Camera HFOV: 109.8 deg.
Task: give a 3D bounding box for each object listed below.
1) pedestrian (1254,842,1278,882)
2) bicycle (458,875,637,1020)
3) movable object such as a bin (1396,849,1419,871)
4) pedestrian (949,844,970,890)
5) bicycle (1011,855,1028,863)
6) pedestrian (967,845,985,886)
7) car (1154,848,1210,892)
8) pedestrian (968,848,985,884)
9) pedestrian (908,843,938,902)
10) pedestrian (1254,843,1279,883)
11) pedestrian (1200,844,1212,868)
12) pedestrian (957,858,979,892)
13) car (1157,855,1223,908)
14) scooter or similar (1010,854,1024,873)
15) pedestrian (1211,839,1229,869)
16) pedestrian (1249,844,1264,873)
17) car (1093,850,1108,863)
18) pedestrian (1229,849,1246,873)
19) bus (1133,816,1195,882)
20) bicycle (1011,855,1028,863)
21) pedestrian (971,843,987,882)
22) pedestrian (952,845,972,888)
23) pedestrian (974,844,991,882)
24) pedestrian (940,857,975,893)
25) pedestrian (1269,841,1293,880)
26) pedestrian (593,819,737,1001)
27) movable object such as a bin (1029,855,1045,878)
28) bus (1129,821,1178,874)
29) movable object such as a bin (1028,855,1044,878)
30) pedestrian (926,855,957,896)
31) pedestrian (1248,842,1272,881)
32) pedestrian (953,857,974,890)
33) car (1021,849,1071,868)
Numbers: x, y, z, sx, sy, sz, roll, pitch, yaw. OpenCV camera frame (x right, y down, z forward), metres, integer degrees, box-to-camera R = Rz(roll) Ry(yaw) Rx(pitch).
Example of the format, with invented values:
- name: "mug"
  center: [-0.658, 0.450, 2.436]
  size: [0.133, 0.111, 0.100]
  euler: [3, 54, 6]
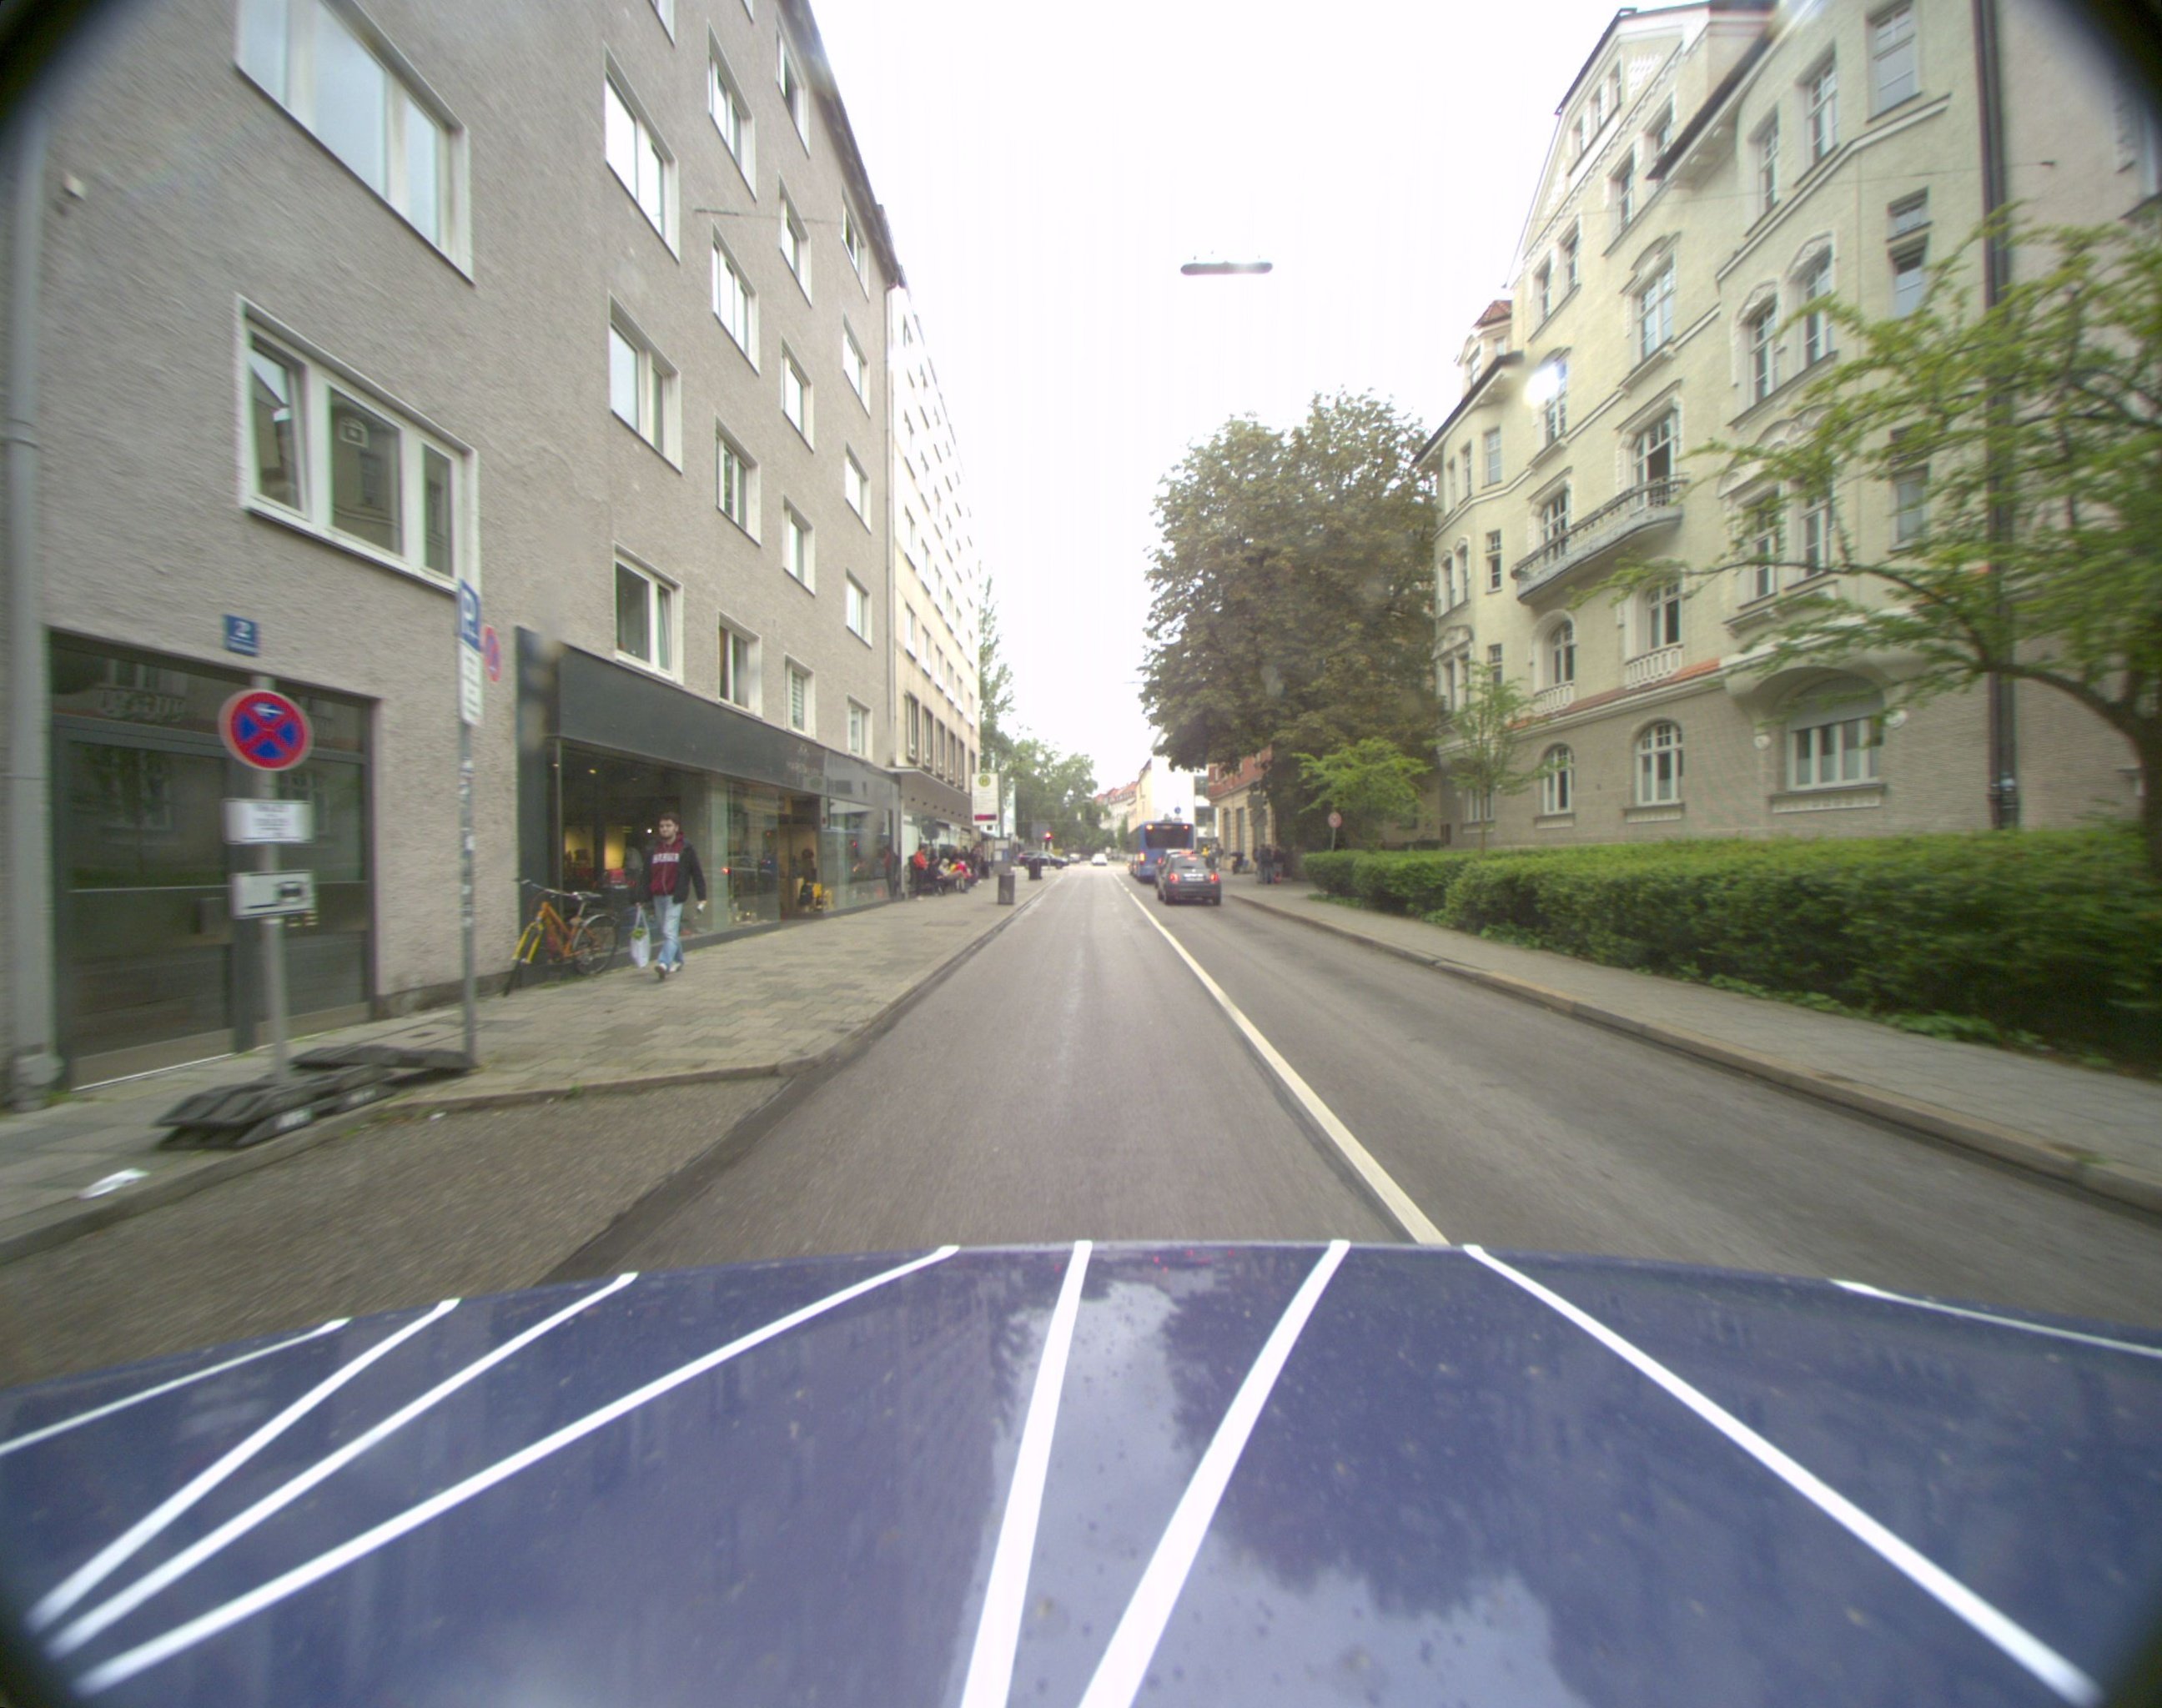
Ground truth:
- name: "pedestrian"
  center: [8.182, 0.353, 33.615]
  size: [0.875, 1.735, 0.786]
  euler: [0, 1, 1]
- name: "bicycle"
  center: [-5.474, 0.889, 7.946]
  size: [0.513, 1.253, 1.820]
  euler: [3, 1, 1]
- name: "movable object such as a bin"
  center: [16.227, 0.302, 37.751]
  size: [0.856, 1.085, 0.813]
  euler: [-1, 1, 5]
- name: "pedestrian"
  center: [-4.672, 0.493, 29.164]
  size: [0.659, 1.723, 0.684]
  euler: [0, 1, 2]
- name: "bicycle"
  center: [-7.954, 0.641, 98.776]
  size: [2.124, 1.110, 0.738]
  euler: [0, 1, -9]
- name: "pedestrian"
  center: [-4.472, 0.482, 32.466]
  size: [0.659, 1.723, 0.696]
  euler: [0, 1, 2]
- name: "car"
  center: [3.935, 0.591, 30.311]
  size: [1.772, 1.635, 4.273]
  euler: [0, 0, 1]
- name: "pedestrian"
  center: [-4.717, 0.531, 34.339]
  size: [0.659, 1.584, 0.696]
  euler: [0, 1, 2]
- name: "pedestrian"
  center: [-4.715, 0.541, 22.673]
  size: [0.704, 1.723, 0.746]
  euler: [0, 1, 2]
- name: "pedestrian"
  center: [7.997, 0.382, 32.760]
  size: [0.910, 1.735, 0.847]
  euler: [0, 1, 1]
- name: "pedestrian"
  center: [10.700, 0.150, 64.874]
  size: [0.952, 2.002, 1.397]
  euler: [0, 1, 11]
- name: "pedestrian"
  center: [-4.178, 0.756, 28.082]
  size: [0.709, 1.230, 0.585]
  euler: [0, 1, 2]
- name: "car"
  center: [3.249, 0.781, 23.242]
  size: [1.588, 1.471, 3.782]
  euler: [0, 1, 1]
- name: "scooter or similar"
  center: [-4.396, 0.639, 52.301]
  size: [0.563, 1.234, 1.445]
  euler: [-1, 1, 12]
- name: "pedestrian"
  center: [9.304, -0.008, 50.909]
  size: [0.832, 2.002, 0.778]
  euler: [-2, 1, -41]
- name: "pedestrian"
  center: [9.413, 0.218, 40.840]
  size: [0.625, 1.529, 0.754]
  euler: [0, 1, -1]
- name: "car"
  center: [2.559, 0.353, 101.479]
  size: [1.927, 1.608, 4.000]
  euler: [-1, 1, 1]
- name: "pedestrian"
  center: [8.903, 0.409, 43.172]
  size: [0.830, 1.333, 0.754]
  euler: [0, 1, -1]
- name: "bus"
  center: [4.158, -0.258, 39.655]
  size: [2.585, 3.083, 8.923]
  euler: [0, 0, 2]
- name: "bicycle"
  center: [-7.934, 0.640, 97.755]
  size: [2.124, 1.110, 0.738]
  euler: [0, 1, -9]
- name: "pedestrian"
  center: [-4.765, 0.406, 35.555]
  size: [0.659, 1.812, 0.696]
  euler: [0, 1, 2]
- name: "pedestrian"
  center: [-4.767, 0.493, 30.562]
  size: [0.659, 1.723, 0.778]
  euler: [0, 1, 2]
- name: "pedestrian"
  center: [-4.708, 0.422, 36.323]
  size: [0.659, 1.773, 0.771]
  euler: [0, 1, 2]
- name: "pedestrian"
  center: [-4.397, 0.744, 27.045]
  size: [1.099, 1.230, 0.668]
  euler: [0, 1, 2]
- name: "pedestrian"
  center: [9.117, 0.293, 34.614]
  size: [0.784, 1.735, 0.877]
  euler: [0, 1, 33]
- name: "pedestrian"
  center: [-4.680, 0.592, 8.646]
  size: [0.929, 1.899, 1.179]
  euler: [2, 1, 1]
- name: "movable object such as a bin"
  center: [-2.441, 0.698, 42.530]
  size: [0.877, 1.243, 0.798]
  euler: [0, 1, -4]
- name: "bus"
  center: [4.476, -0.389, 48.585]
  size: [2.585, 3.083, 9.108]
  euler: [0, 0, 2]
- name: "movable object such as a bin"
  center: [-2.453, 0.695, 41.686]
  size: [0.877, 1.243, 0.798]
  euler: [0, 1, -4]
- name: "pedestrian"
  center: [-4.639, 0.713, 25.354]
  size: [0.862, 1.344, 0.862]
  euler: [0, 1, 2]
- name: "pedestrian"
  center: [8.129, 0.350, 34.506]
  size: [0.875, 1.735, 0.910]
  euler: [0, 1, 1]
- name: "pedestrian"
  center: [-4.420, 0.741, 28.591]
  size: [0.681, 1.230, 0.496]
  euler: [0, 1, 2]
- name: "car"
  center: [-3.193, 0.406, 69.677]
  size: [4.460, 1.738, 1.871]
  euler: [0, 1, 0]
